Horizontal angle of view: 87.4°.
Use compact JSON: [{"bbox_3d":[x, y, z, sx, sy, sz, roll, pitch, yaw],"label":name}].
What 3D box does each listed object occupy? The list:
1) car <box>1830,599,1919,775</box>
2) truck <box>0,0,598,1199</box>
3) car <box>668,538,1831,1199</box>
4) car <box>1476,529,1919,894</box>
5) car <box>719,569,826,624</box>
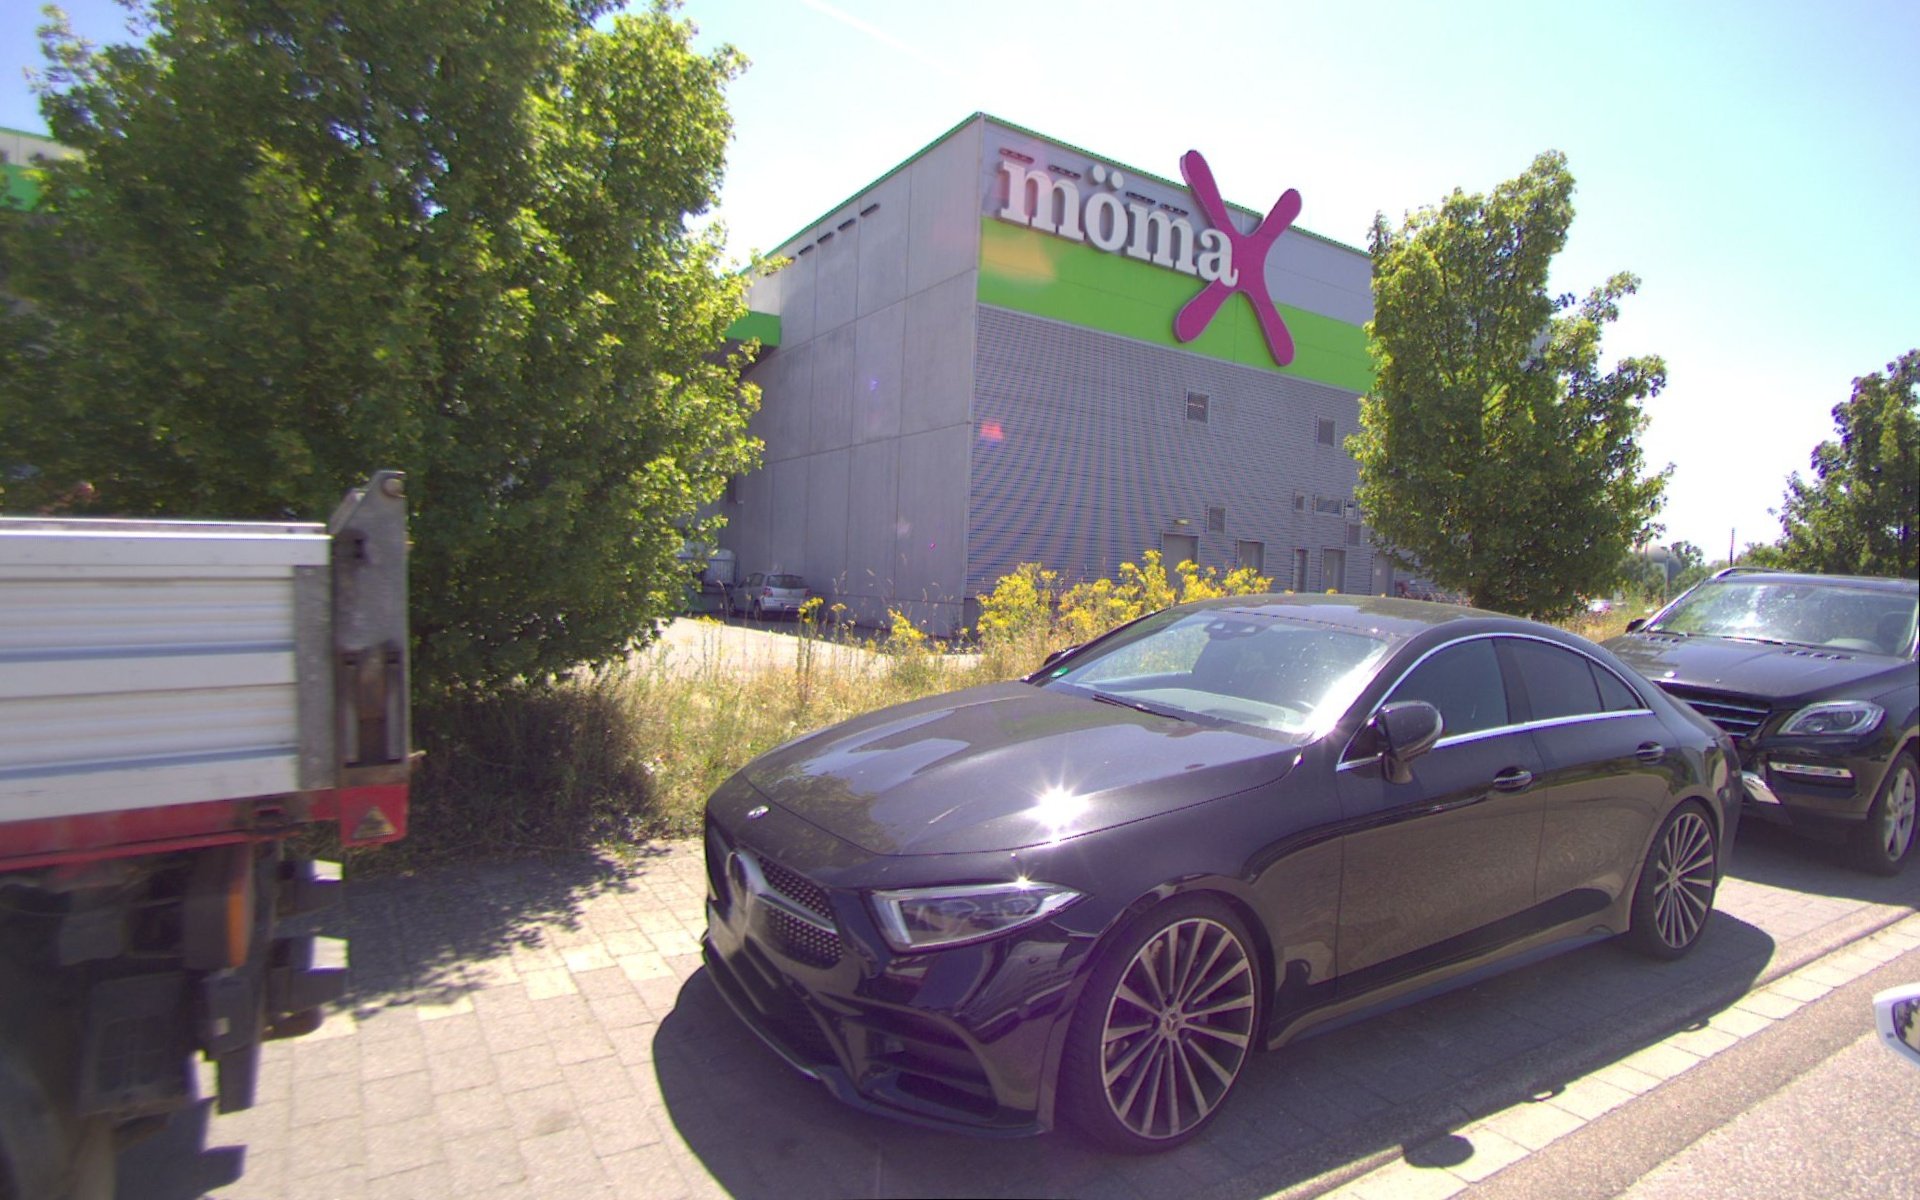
[{"bbox_3d":[10.771,0.873,10.161,4.857,1.539,1.838,2,3,-36],"label":"car"},{"bbox_3d":[-3.070,0.101,1.220,4.598,2.252,1.840,2,3,-34],"label":"truck"},{"bbox_3d":[1.452,0.635,4.056,4.703,1.462,1.840,2,3,-33],"label":"car"},{"bbox_3d":[5.937,0.561,7.009,4.932,1.782,1.841,2,3,-33],"label":"car"},{"bbox_3d":[-5.749,-0.143,30.502,1.838,1.467,3.731,2,1,-34],"label":"car"}]
